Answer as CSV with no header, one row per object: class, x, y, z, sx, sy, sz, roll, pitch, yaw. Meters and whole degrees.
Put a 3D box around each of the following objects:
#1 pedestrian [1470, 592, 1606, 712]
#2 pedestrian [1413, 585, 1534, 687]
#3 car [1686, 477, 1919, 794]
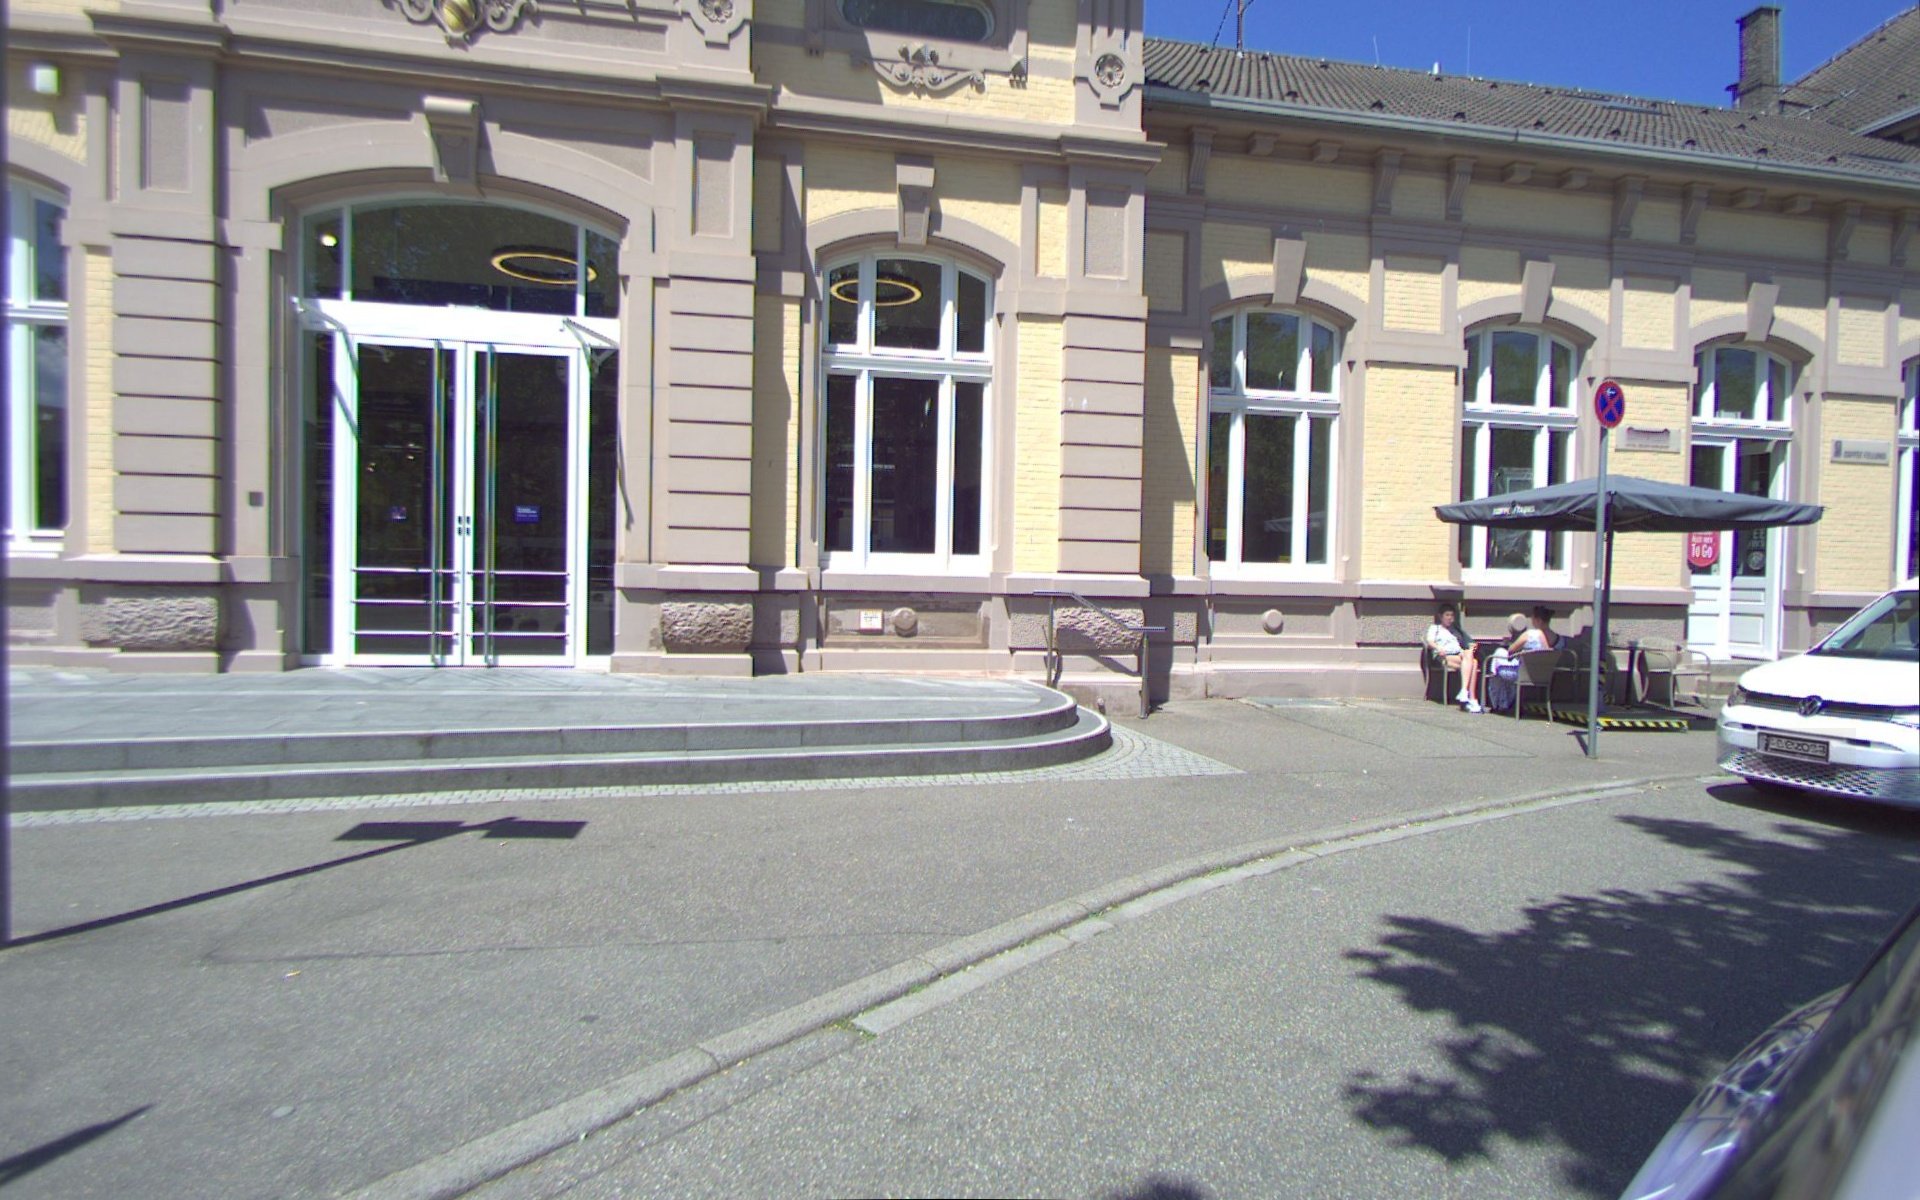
pedestrian,6.156,0.531,10.820,0.834,1.176,0.884,0,3,-15
pedestrian,5.930,0.398,11.731,0.834,1.093,0.884,0,3,-15
car,8.045,0.235,7.160,5.031,1.889,1.819,1,1,-13
